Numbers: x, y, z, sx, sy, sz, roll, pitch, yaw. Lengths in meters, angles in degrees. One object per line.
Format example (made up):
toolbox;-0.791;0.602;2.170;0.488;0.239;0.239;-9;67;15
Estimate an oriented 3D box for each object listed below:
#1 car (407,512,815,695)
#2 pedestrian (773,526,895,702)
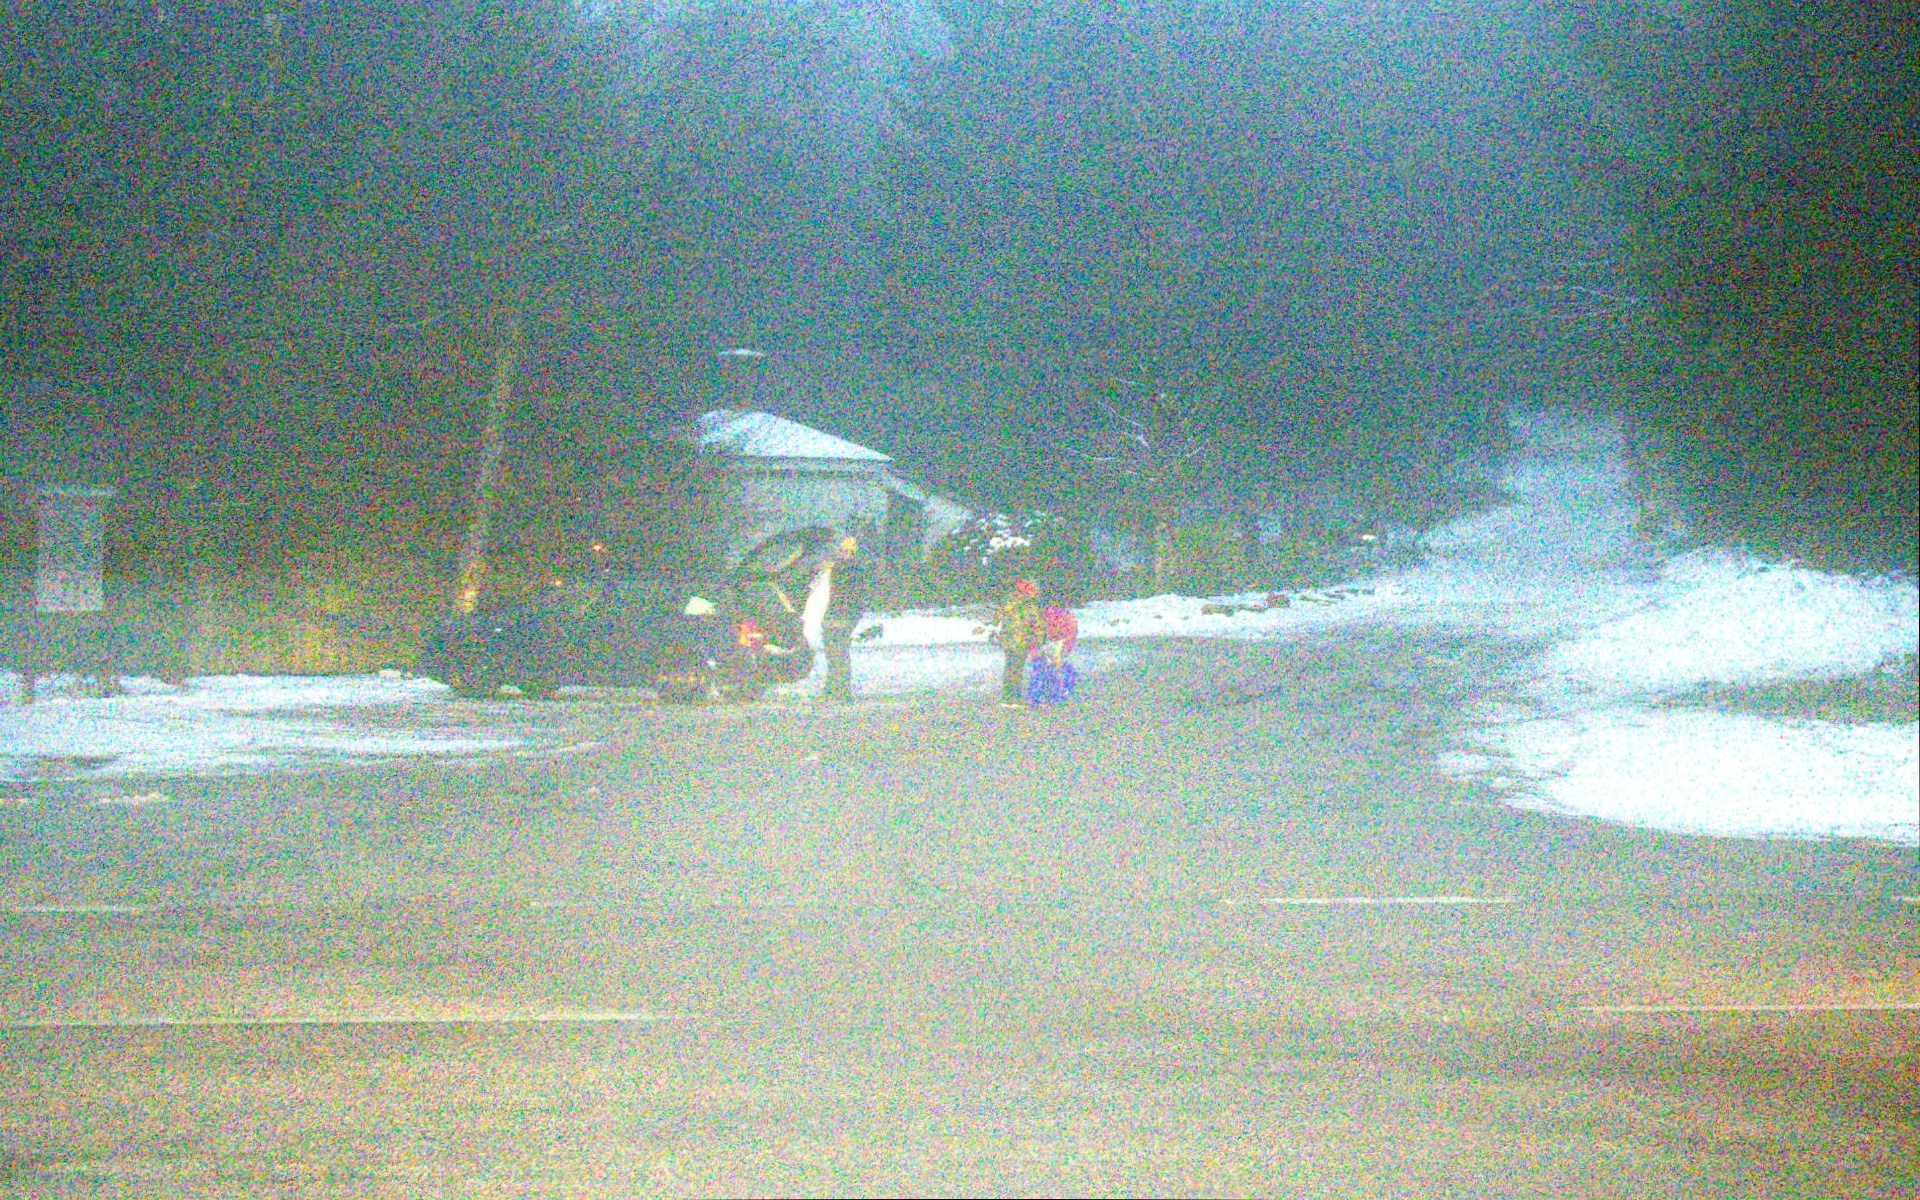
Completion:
car;-3.805;0.036;37.671;3.950;1.875;1.998;1;0;16
pedestrian;-1.329;0.150;36.435;0.961;1.822;0.924;1;-1;21
